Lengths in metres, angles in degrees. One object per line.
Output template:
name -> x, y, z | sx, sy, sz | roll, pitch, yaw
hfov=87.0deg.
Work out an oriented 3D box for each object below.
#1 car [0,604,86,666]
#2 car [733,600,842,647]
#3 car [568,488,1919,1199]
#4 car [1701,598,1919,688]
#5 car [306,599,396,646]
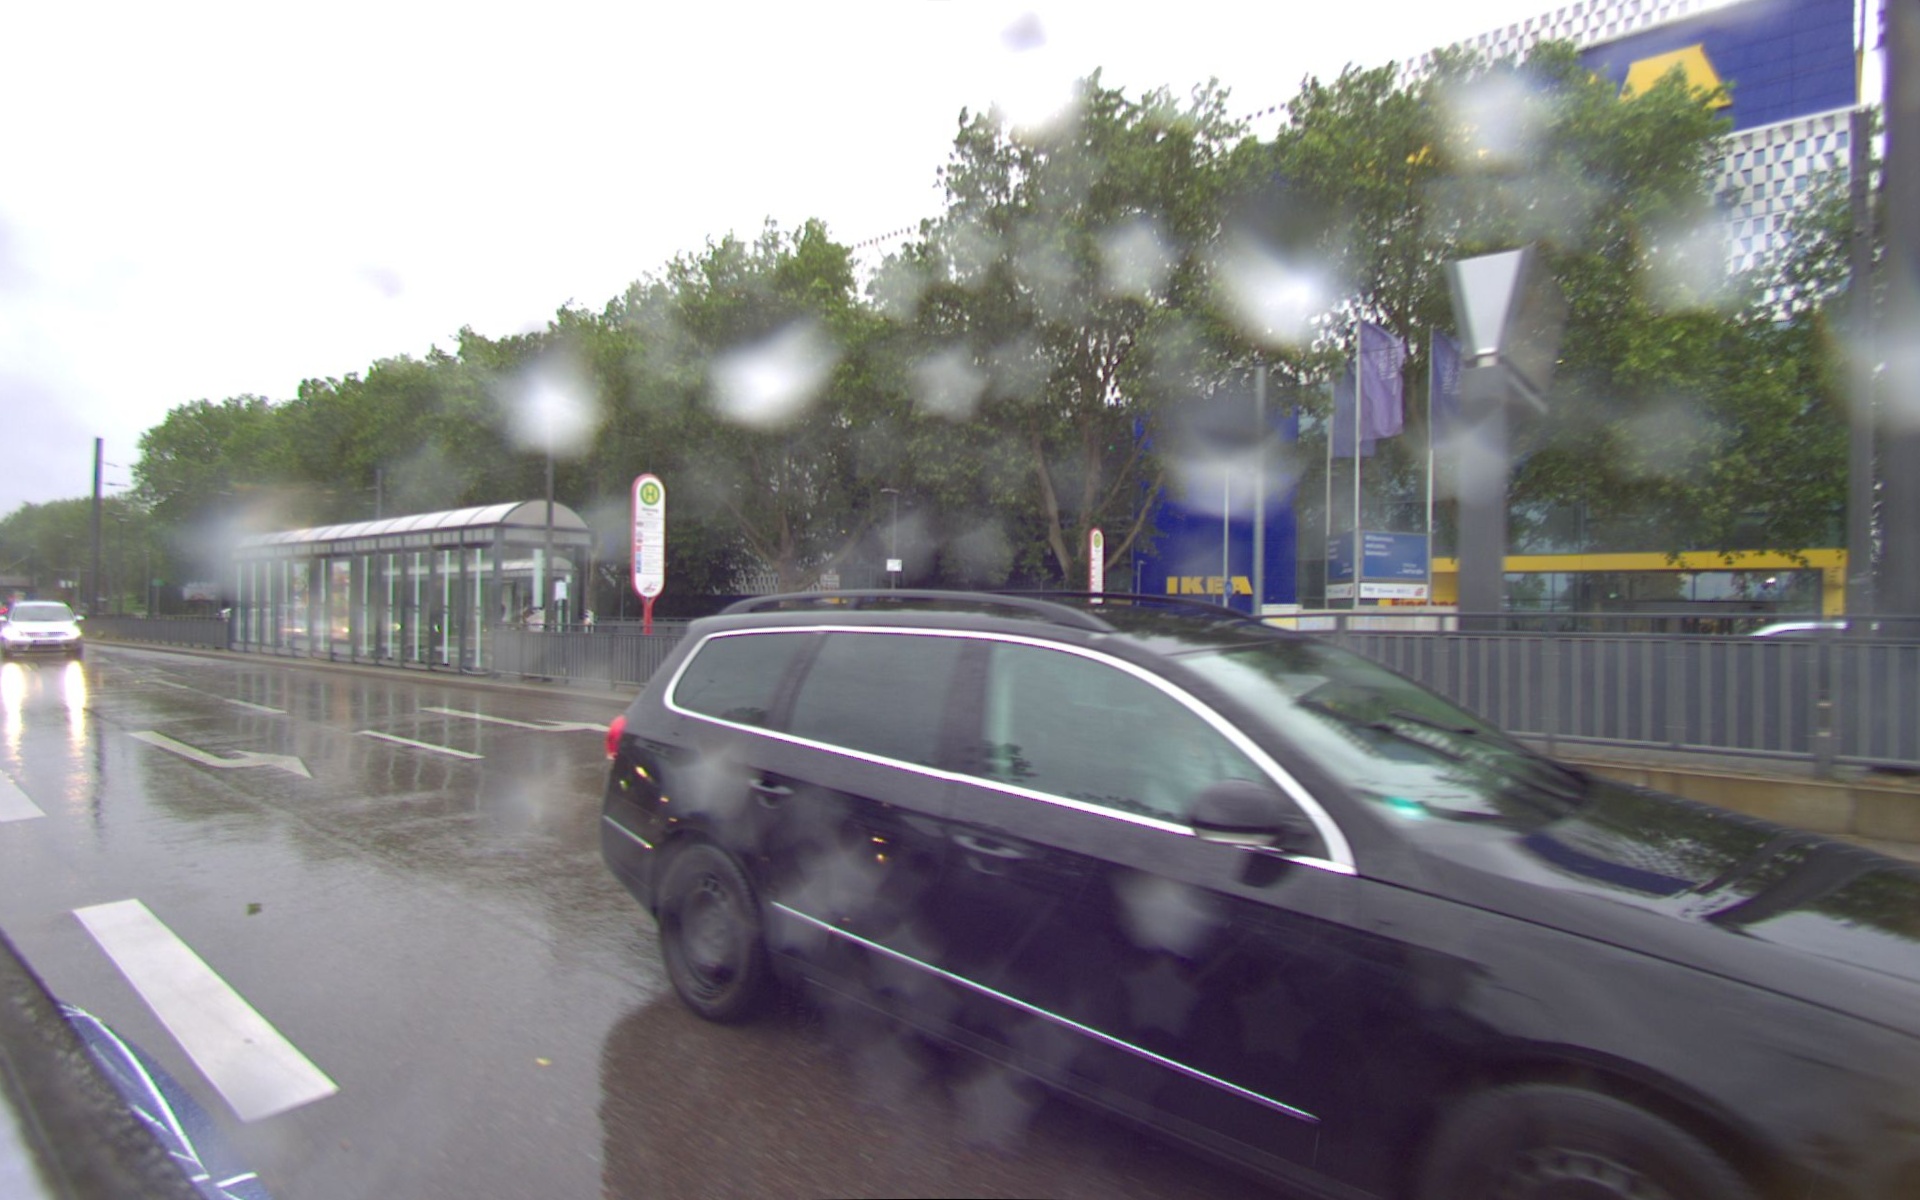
car -> -26.780, 0.945, 29.220 | 3.998, 1.618, 1.771 | 1, 1, 41
car -> -6.088, 0.790, 35.499 | 3.872, 1.503, 1.681 | 1, 1, 39
car -> 0.718, 0.581, 3.134 | 4.596, 1.512, 1.752 | 1, 1, 42
car -> 14.826, 0.674, 16.924 | 3.828, 1.346, 1.571 | 1, 1, 41
car -> -19.618, 0.690, 32.560 | 3.615, 1.371, 1.507 | 1, 1, 42
